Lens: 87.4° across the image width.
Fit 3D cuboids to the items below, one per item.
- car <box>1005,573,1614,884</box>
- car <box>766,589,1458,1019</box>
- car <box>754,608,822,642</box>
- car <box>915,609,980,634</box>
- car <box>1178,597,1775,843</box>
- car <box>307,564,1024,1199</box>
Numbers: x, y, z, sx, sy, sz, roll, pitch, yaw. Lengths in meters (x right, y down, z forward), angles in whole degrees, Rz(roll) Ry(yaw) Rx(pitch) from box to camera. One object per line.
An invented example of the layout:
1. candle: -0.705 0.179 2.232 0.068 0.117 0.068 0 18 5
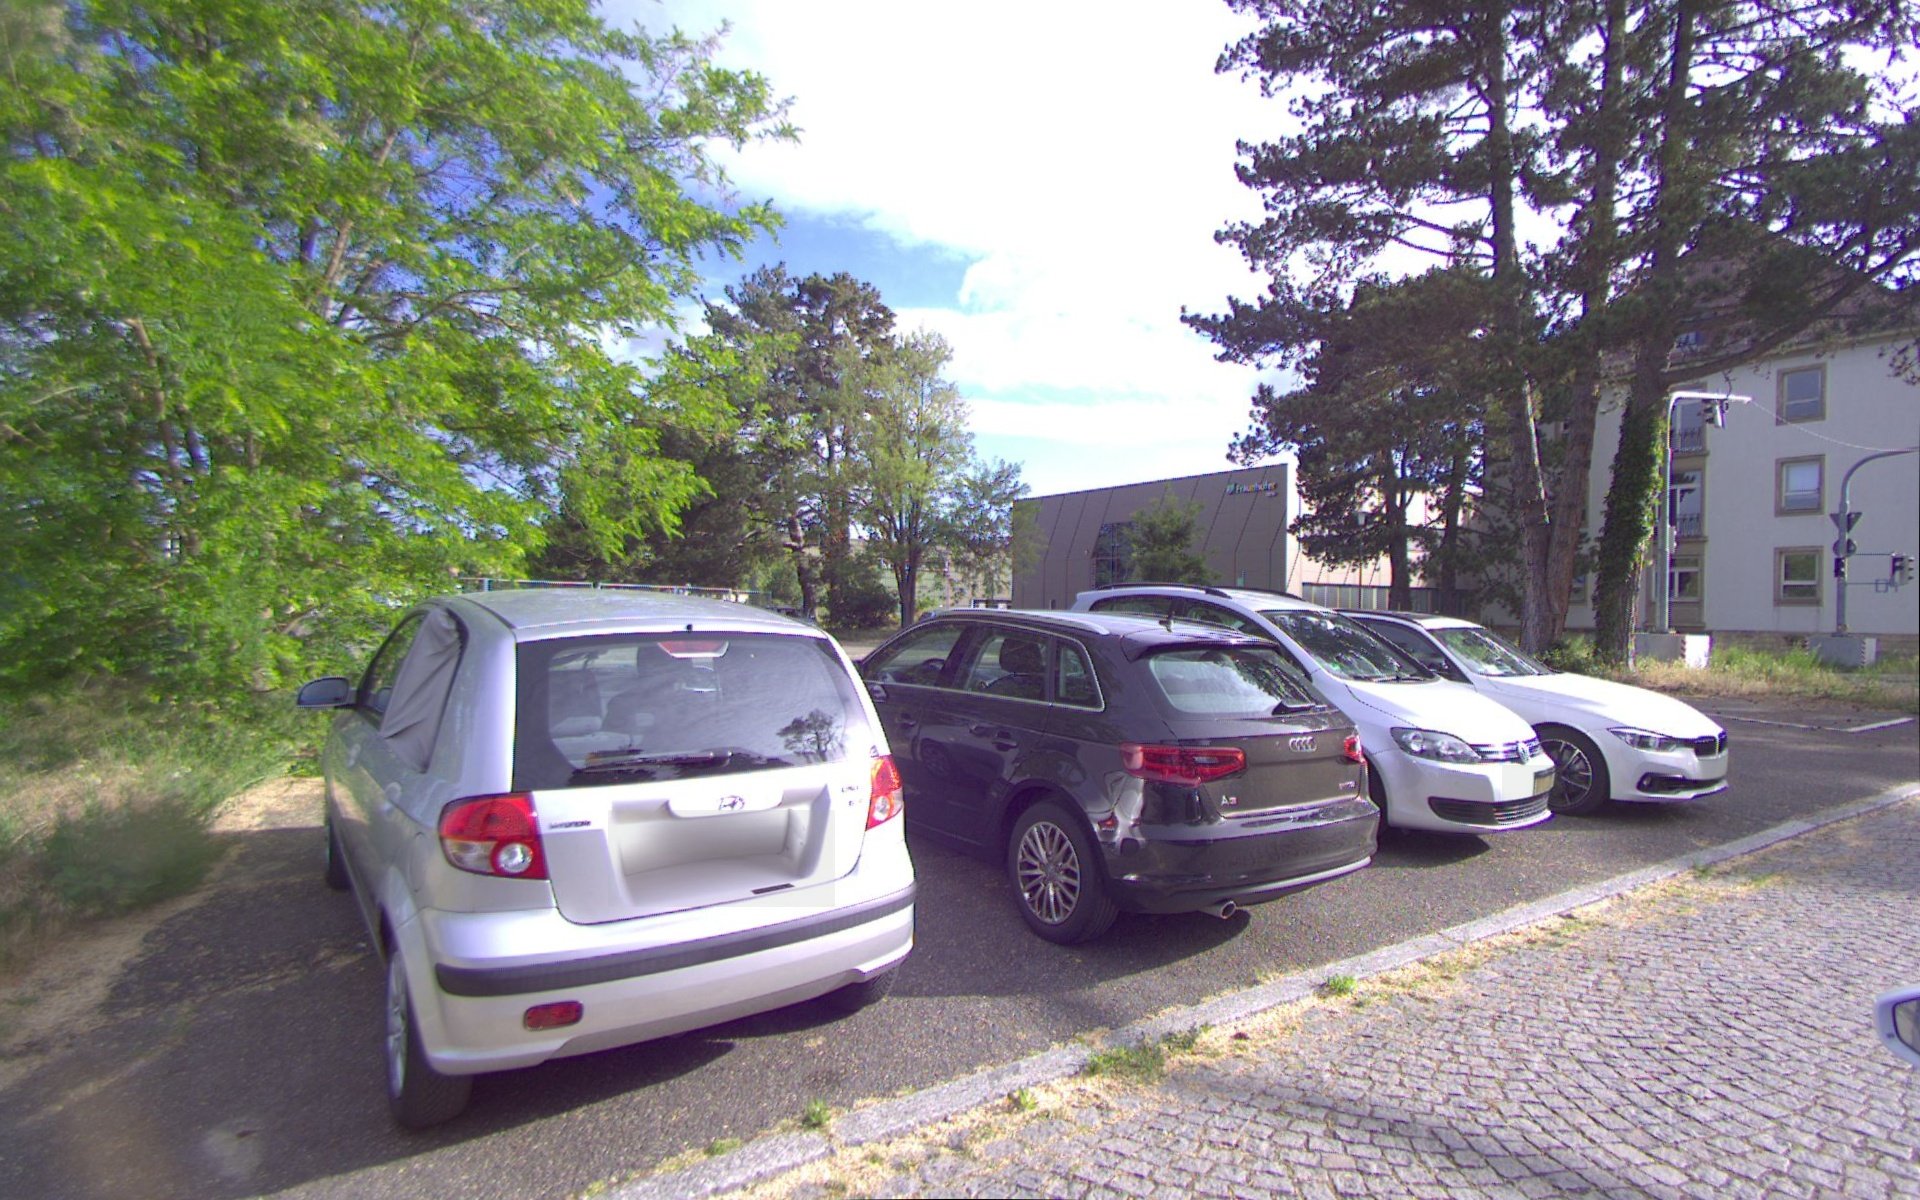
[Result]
1. car: 2.406 0.701 7.830 1.843 1.621 4.088 1 2 -38
2. car: 0.520 0.771 5.846 1.840 1.449 3.803 2 2 -35
3. car: -7.873 1.116 45.786 1.647 1.400 3.964 2 -1 -33
4. car: -0.837 1.487 68.274 4.118 1.580 1.790 2 -1 -37
5. car: 4.416 0.826 9.349 1.885 1.475 4.554 -1 3 -36
6. car: -1.612 0.678 4.307 1.831 1.493 3.657 2 2 -35
